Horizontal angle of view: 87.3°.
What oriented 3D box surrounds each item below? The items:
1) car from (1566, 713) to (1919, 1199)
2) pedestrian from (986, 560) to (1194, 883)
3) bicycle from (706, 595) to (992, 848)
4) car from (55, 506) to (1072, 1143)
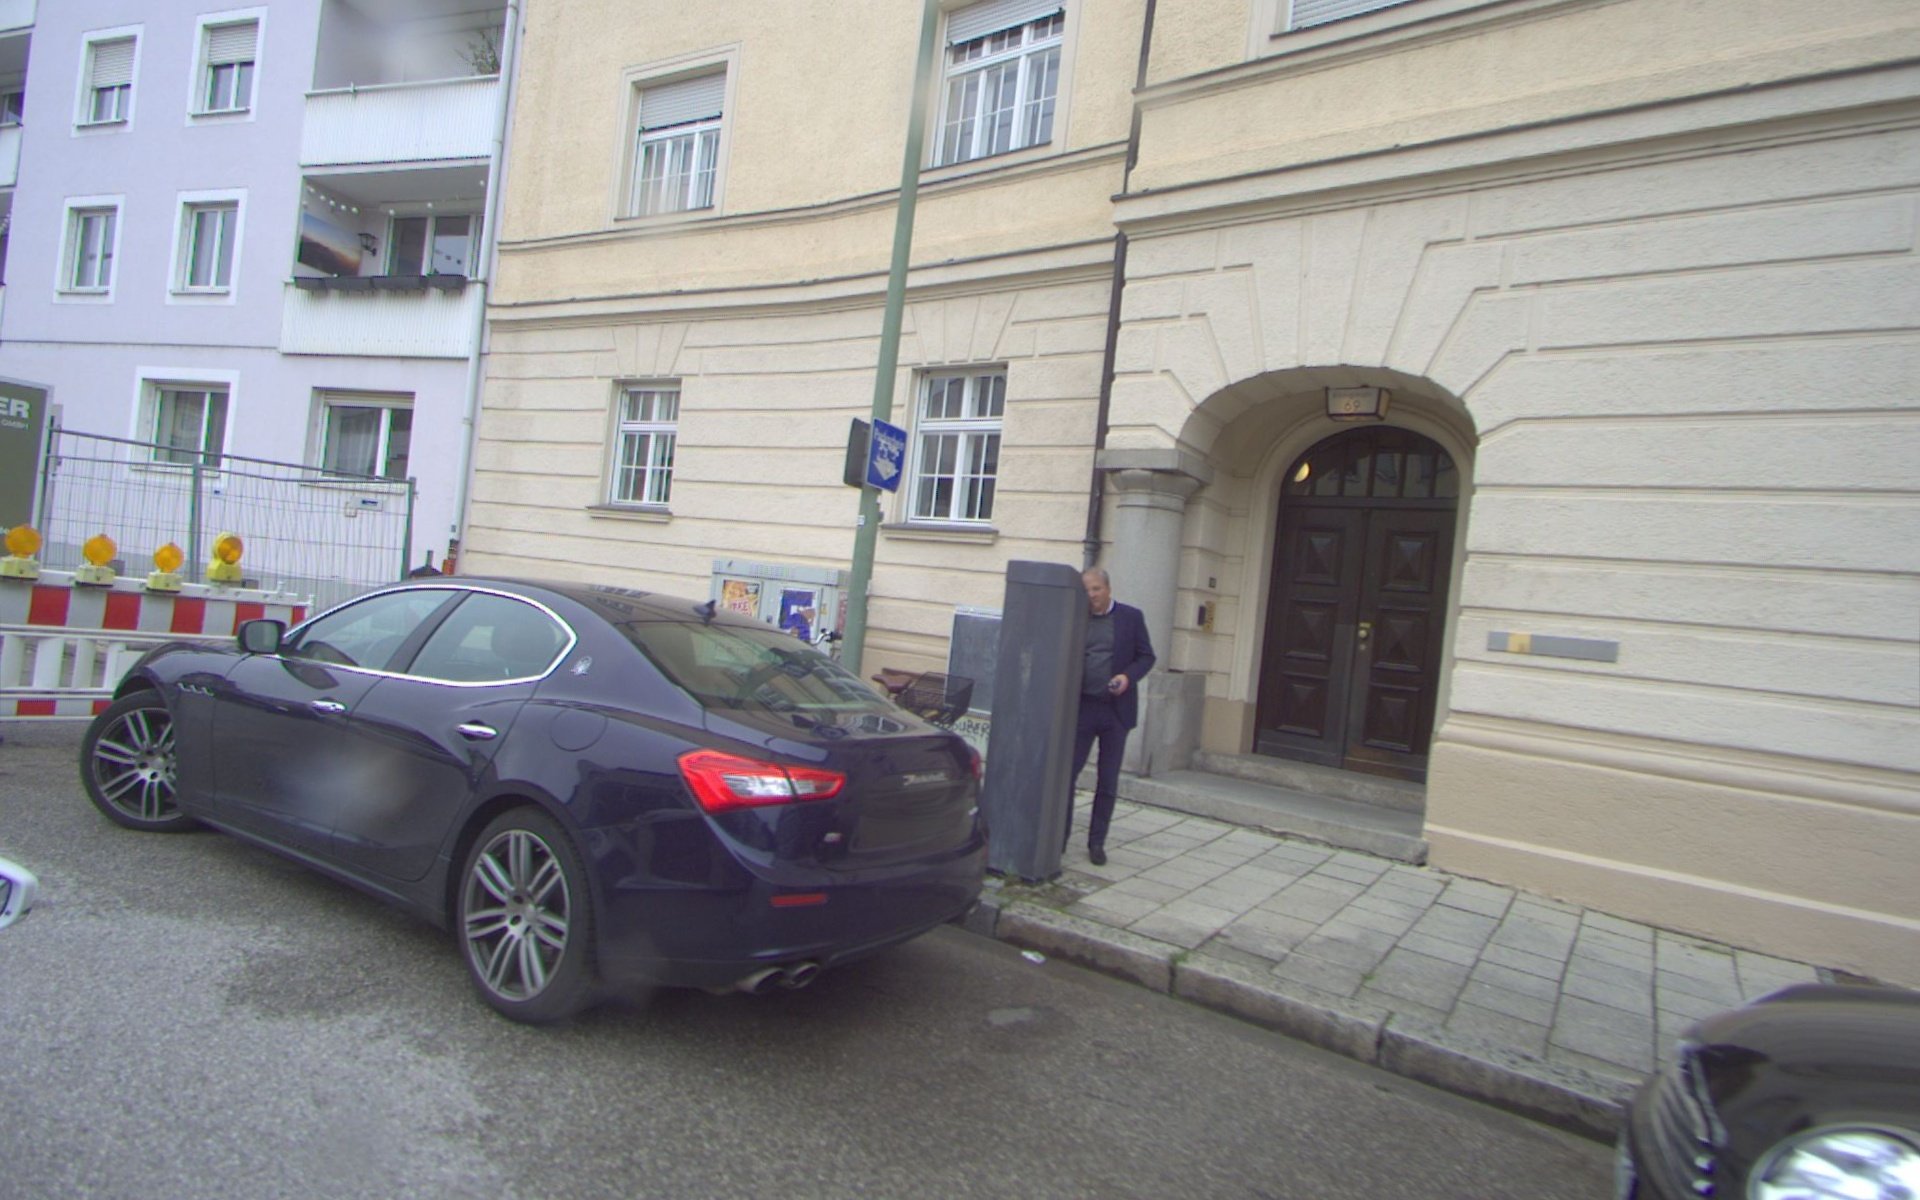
[{"bbox_3d":[3.080,1.169,1.504,3.620,1.434,1.633,7,-1,33],"label":"car"},{"bbox_3d":[0.763,0.661,5.958,0.905,1.713,0.616,6,3,36],"label":"pedestrian"},{"bbox_3d":[-0.721,0.698,6.287,1.645,1.273,0.637,6,-1,35],"label":"bicycle"},{"bbox_3d":[-2.144,0.572,4.820,4.865,1.495,1.911,7,-2,32],"label":"car"}]
